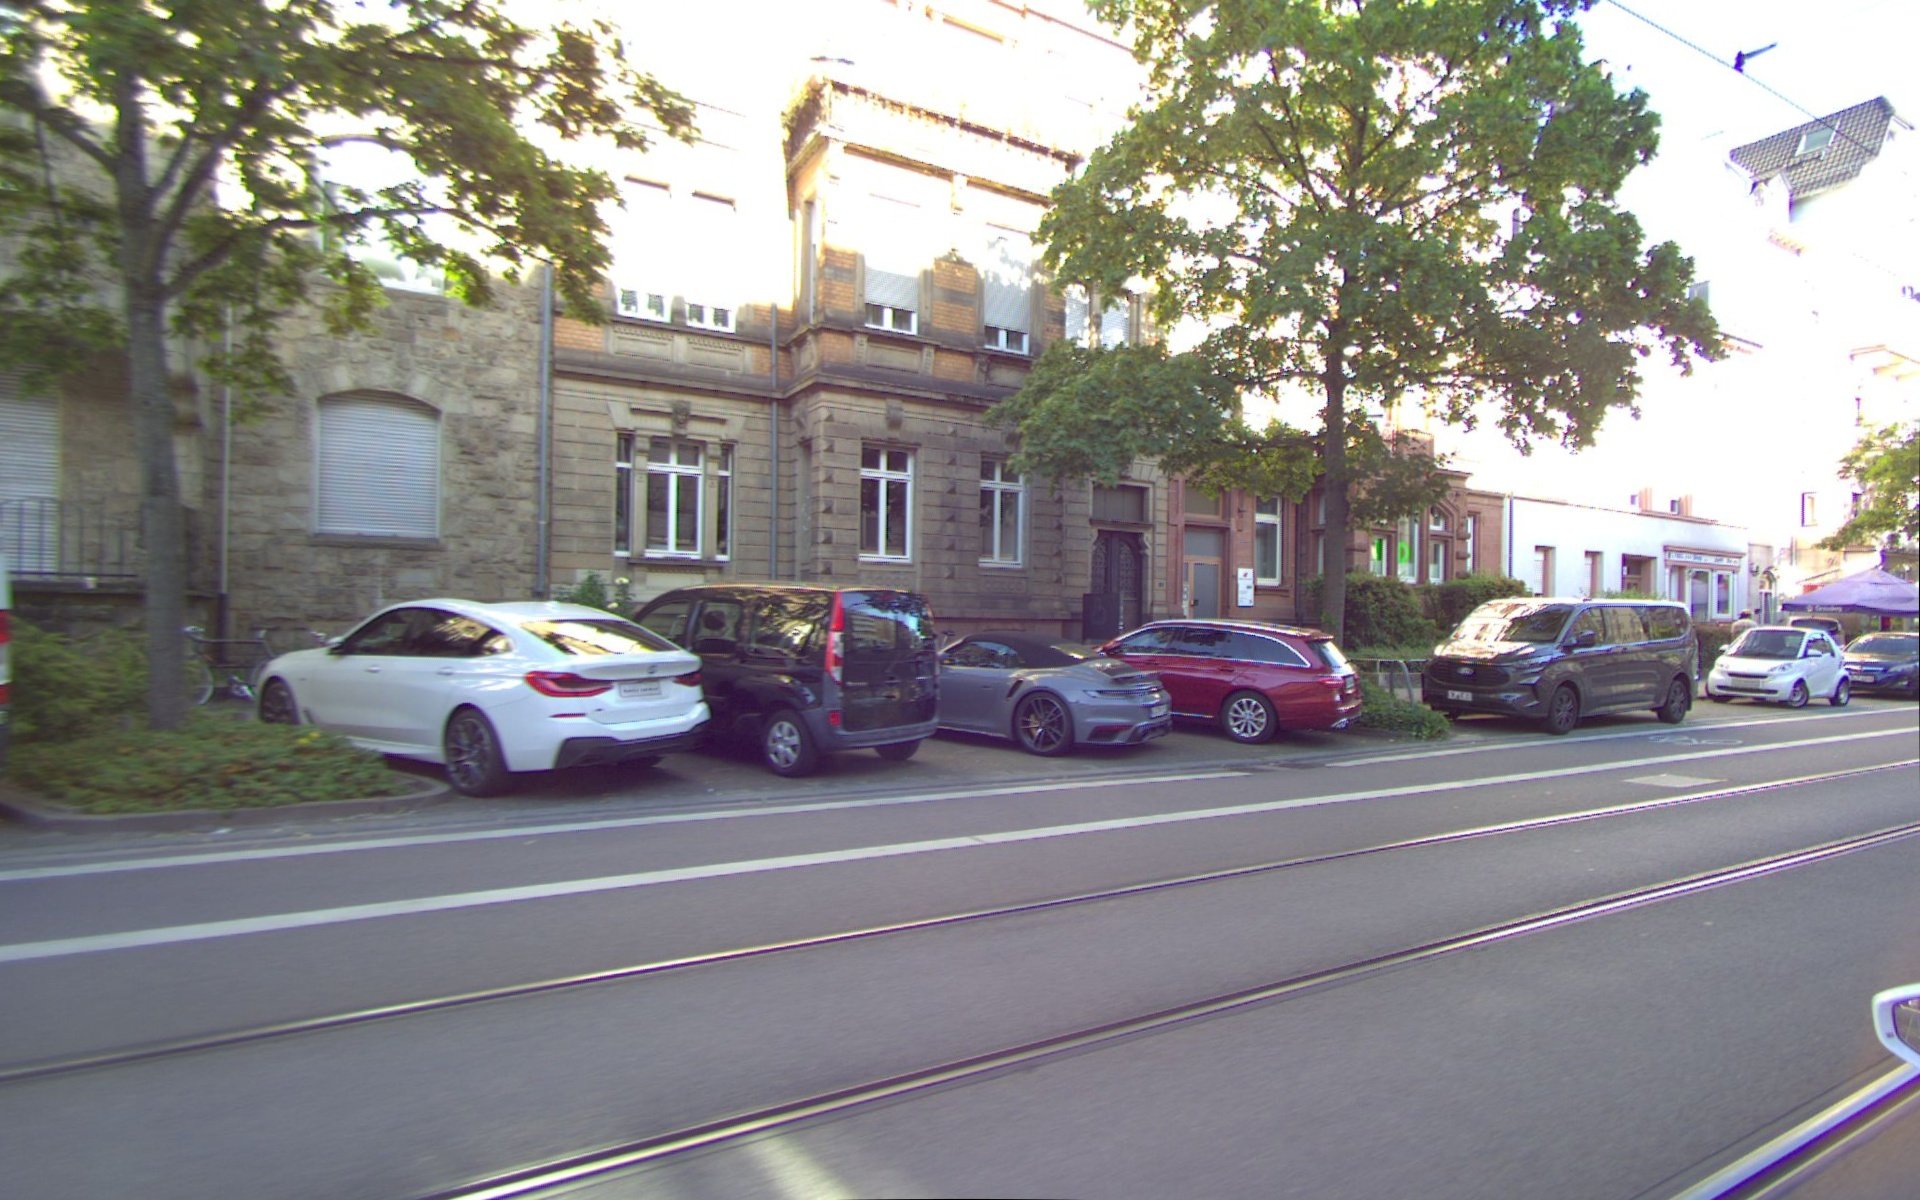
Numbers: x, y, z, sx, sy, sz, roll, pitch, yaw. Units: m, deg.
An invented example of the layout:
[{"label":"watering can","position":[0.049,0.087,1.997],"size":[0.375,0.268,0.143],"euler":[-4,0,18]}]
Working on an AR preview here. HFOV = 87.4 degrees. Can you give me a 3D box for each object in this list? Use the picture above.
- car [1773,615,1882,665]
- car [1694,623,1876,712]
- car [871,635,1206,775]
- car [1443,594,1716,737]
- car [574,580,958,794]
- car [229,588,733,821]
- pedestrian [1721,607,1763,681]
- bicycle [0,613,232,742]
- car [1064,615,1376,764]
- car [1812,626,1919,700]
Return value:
[{"label":"car","position":[27.850,1.272,32.236],"size":[3.486,1.488,1.626],"euler":[2,0,-30]},{"label":"car","position":[17.322,1.359,21.042],"size":[4.365,1.639,1.737],"euler":[2,0,-34]},{"label":"car","position":[0.864,1.132,12.018],"size":[3.746,1.282,1.511],"euler":[1,0,35]},{"label":"car","position":[10.098,0.979,16.221],"size":[5.186,2.000,1.737],"euler":[2,0,-34]},{"label":"car","position":[-2.129,0.759,10.623],"size":[3.933,1.841,1.707],"euler":[1,0,35]},{"label":"car","position":[-4.495,0.769,9.245],"size":[4.683,1.639,1.710],"euler":[1,0,28]},{"label":"pedestrian","position":[19.786,1.104,25.422],"size":[0.652,1.848,0.622],"euler":[2,0,-30]},{"label":"bicycle","position":[-8.049,0.721,9.623],"size":[1.677,1.151,0.385],"euler":[2,0,-31]},{"label":"car","position":[3.446,1.078,13.600],"size":[3.678,1.644,1.781],"euler":[1,0,39]},{"label":"car","position":[21.461,1.412,23.190],"size":[4.001,1.506,1.736],"euler":[2,0,-35]}]
